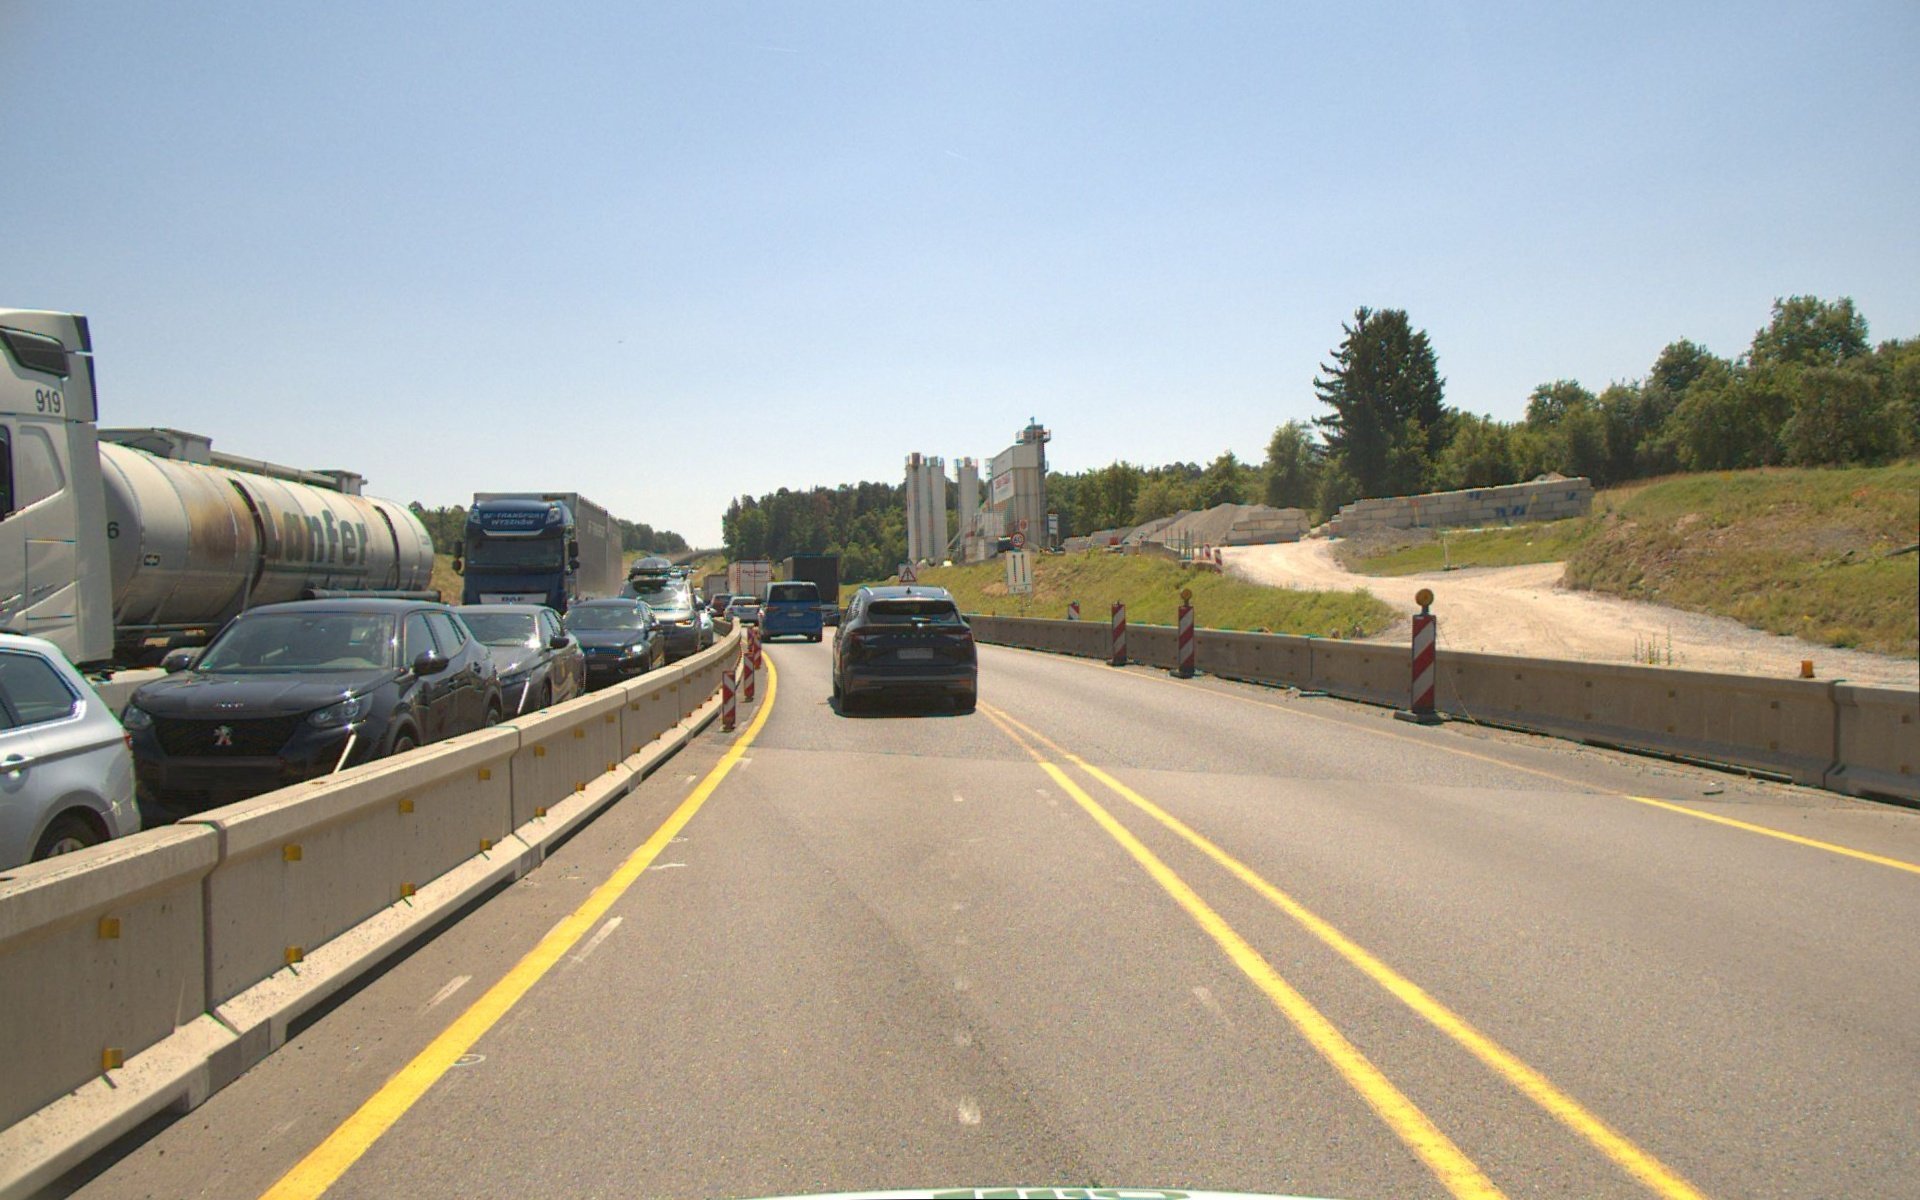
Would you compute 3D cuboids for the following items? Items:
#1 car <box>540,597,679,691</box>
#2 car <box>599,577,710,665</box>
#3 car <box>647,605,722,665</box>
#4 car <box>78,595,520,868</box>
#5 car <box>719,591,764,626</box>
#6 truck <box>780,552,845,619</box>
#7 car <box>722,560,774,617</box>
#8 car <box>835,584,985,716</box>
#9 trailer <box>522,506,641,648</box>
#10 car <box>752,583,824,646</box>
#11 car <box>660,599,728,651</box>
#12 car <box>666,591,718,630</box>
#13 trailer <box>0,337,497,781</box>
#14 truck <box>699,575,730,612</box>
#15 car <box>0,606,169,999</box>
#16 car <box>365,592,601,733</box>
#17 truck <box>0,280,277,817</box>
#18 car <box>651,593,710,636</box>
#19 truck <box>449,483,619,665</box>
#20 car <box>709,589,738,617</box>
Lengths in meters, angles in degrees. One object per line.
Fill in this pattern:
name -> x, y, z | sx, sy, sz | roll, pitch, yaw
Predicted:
car -> -6.032, 0.701, 28.940 | 1.701, 1.472, 4.793 | -1, 0, -4
car -> -6.852, 0.419, 37.531 | 2.006, 1.808, 5.060 | -1, 1, -6
car -> -7.760, 0.939, 46.726 | 1.957, 1.557, 4.050 | -1, 0, -9
car -> -4.452, 0.766, 11.841 | 1.644, 1.571, 4.115 | -1, 0, -3
car -> -10.862, 0.390, 81.932 | 2.008, 1.553, 5.055 | -4, 1, -9
truck -> -7.285, -0.701, 81.280 | 2.625, 2.996, 5.607 | -3, 1, -10
car -> -16.496, -0.929, 127.995 | 3.375, 4.172, 9.173 | 1, 0, -11
car -> -0.774, 0.610, 22.706 | 1.806, 1.609, 3.996 | -1, 0, -5
trailer -> -12.186, -0.725, 53.966 | 2.684, 4.209, 8.175 | -2, 1, -6
car -> -5.581, 0.425, 53.275 | 1.958, 1.876, 3.990 | -2, 1, -11
car -> -8.902, 0.798, 55.750 | 2.006, 1.553, 5.058 | -2, 1, -7
car -> -11.555, 0.409, 71.561 | 2.006, 1.553, 5.058 | -2, 1, -7
trailer -> -8.696, -0.422, 20.866 | 2.650, 4.047, 11.241 | -2, 1, -1
truck -> -29.866, -0.784, 200.751 | 3.412, 4.294, 10.353 | -1, 1, -10
car -> -4.430, 0.790, 5.320 | 1.644, 1.469, 4.552 | -1, 0, -1
car -> -5.503, 0.641, 19.693 | 1.701, 1.441, 4.793 | -1, 0, -4
truck -> -8.571, -0.380, 14.443 | 2.645, 4.038, 6.197 | -2, 0, -1
car -> -11.014, 0.531, 65.392 | 2.006, 1.553, 5.058 | -2, 1, -7
truck -> -11.191, -0.662, 44.536 | 2.720, 4.209, 10.856 | -2, 1, -6
car -> -15.144, 0.185, 105.748 | 1.787, 1.673, 3.858 | -1, 0, -8
